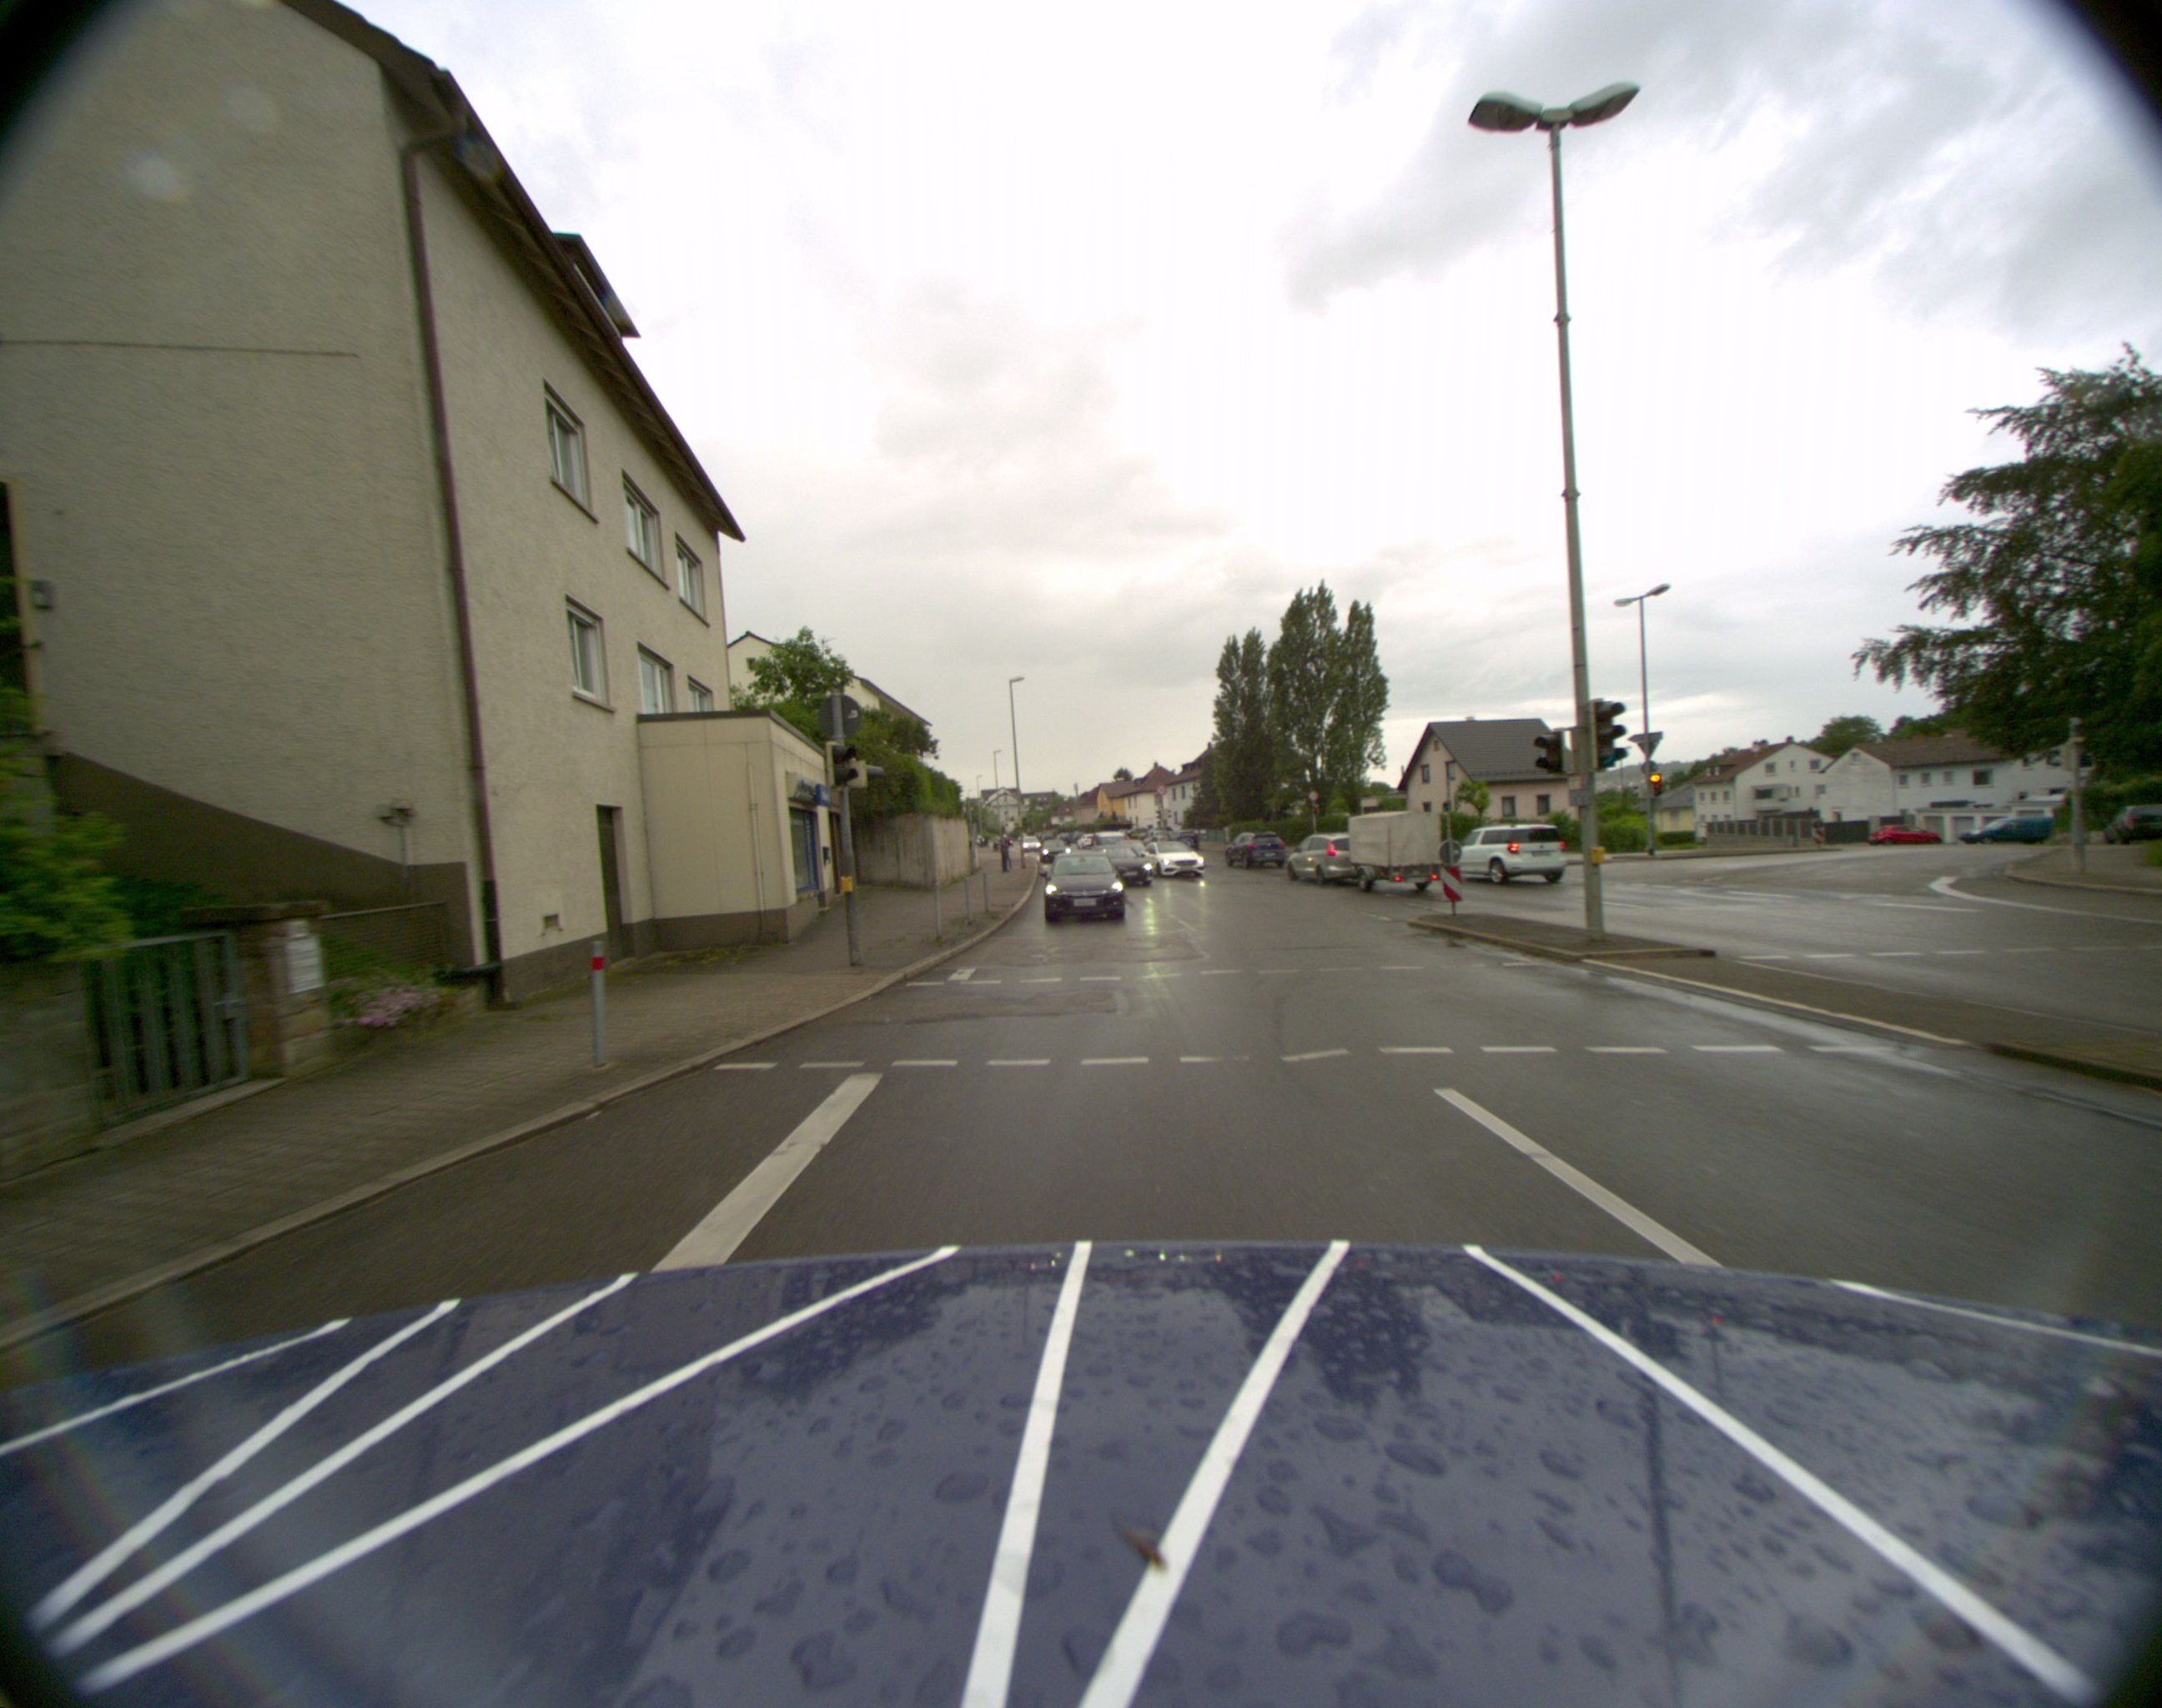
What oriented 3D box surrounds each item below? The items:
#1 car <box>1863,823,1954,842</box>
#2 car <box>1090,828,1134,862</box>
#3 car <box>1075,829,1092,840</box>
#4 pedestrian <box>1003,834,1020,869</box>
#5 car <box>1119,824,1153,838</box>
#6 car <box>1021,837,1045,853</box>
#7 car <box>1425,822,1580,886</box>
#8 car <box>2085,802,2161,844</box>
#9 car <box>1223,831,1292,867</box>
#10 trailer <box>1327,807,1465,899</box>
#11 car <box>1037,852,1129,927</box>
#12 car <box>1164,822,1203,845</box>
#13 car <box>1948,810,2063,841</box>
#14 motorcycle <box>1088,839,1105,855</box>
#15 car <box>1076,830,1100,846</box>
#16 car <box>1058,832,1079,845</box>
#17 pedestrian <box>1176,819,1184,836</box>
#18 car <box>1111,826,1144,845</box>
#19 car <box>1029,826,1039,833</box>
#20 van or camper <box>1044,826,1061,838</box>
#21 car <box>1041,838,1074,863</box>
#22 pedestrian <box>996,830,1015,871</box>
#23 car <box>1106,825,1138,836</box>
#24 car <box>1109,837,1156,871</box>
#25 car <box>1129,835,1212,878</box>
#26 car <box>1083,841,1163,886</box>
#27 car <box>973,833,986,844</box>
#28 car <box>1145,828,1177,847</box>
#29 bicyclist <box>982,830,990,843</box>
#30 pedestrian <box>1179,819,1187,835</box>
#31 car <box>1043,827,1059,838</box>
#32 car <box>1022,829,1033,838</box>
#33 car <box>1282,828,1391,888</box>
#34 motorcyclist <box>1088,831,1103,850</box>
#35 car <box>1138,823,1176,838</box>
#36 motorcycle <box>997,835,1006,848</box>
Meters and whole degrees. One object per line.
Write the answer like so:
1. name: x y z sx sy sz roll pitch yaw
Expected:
1. car: 60.592 -1.562 55.727 4.083 1.281 1.911 -1 2 24
2. car: 1.841 -0.605 46.541 1.957 1.861 4.742 -2 2 -6
3. car: 0.330 -2.759 107.094 1.810 1.408 3.995 -2 2 -9
4. pedestrian: -3.684 -0.136 40.246 0.796 1.771 1.011 -1 3 -3
5. car: 7.191 -3.012 99.532 4.112 1.412 1.882 -5 3 -9
6. car: -4.886 -0.907 76.441 1.842 1.473 3.995 -2 1 -12
7. car: 12.225 -0.077 22.437 1.829 1.648 4.463 -2 2 -4
8. car: 45.106 -1.353 32.521 1.933 1.694 4.204 0 3 44
9. car: 8.148 -0.289 35.474 1.846 1.543 4.380 -2 2 -4
10. trailer: 8.381 -0.071 20.637 1.901 2.167 4.033 -3 2 -2
11. car: 0.156 0.728 17.667 1.840 1.390 4.000 -2 2 3
12. car: 8.157 -1.672 60.995 1.810 1.660 4.592 -3 3 -9
13. car: 57.593 -1.759 47.452 4.082 1.839 1.942 -1 2 28
14. motorcycle: 1.158 -0.566 58.636 0.944 1.101 2.403 -3 3 -7
15. car: 0.697 -1.721 80.136 1.841 1.548 4.765 -2 3 -7
16. car: -1.573 -1.937 93.934 1.859 1.456 3.995 -3 2 -10
17. pedestrian: 10.951 -2.929 84.066 0.670 1.779 0.539 -6 3 -5
18. car: 4.061 -1.635 67.076 2.000 1.565 3.995 -2 3 -9
19. car: -11.703 -6.062 189.043 2.000 1.565 3.995 -3 3 -9
20. van or camper: -5.124 -3.916 134.296 2.191 2.003 5.127 -3 3 -10
21. car: -1.652 -0.212 51.653 1.841 1.448 3.999 -3 -1 -6
22. pedestrian: -3.801 -0.174 38.373 0.799 2.003 0.734 -3 3 -3
23. car: 5.648 -3.215 105.126 4.115 1.475 1.837 1 1 -16
24. car: 2.560 -0.065 38.340 1.840 1.479 4.056 -3 3 -3
25. car: 3.641 0.042 31.785 1.915 1.520 4.644 -3 3 -14
26. car: 1.418 0.310 27.739 1.912 1.390 4.852 -3 1 -9
27. car: -15.421 -2.375 115.144 1.738 1.481 3.995 -2 2 -9
28. car: 7.051 -1.502 67.203 1.810 1.560 4.137 -3 3 -9
29. bicyclist: -12.967 -2.395 103.811 0.809 1.633 0.906 -2 3 0
30. pedestrian: 11.600 -3.094 86.304 0.652 1.777 0.647 -5 2 15
31. car: -4.294 -3.068 108.771 1.717 1.494 3.995 -3 3 -10
32. car: -10.139 -3.882 143.752 1.838 1.521 3.995 -2 2 -9
33. car: 8.231 0.051 24.912 1.904 1.674 4.476 -3 3 -2
34. motorcyclist: 1.132 -1.050 58.664 0.953 1.414 0.992 -3 3 -7
35. car: 8.904 -2.795 89.602 3.999 1.412 1.882 -6 3 -9
36. motorcycle: -8.542 -1.375 81.329 0.694 1.317 2.476 -2 2 -11
